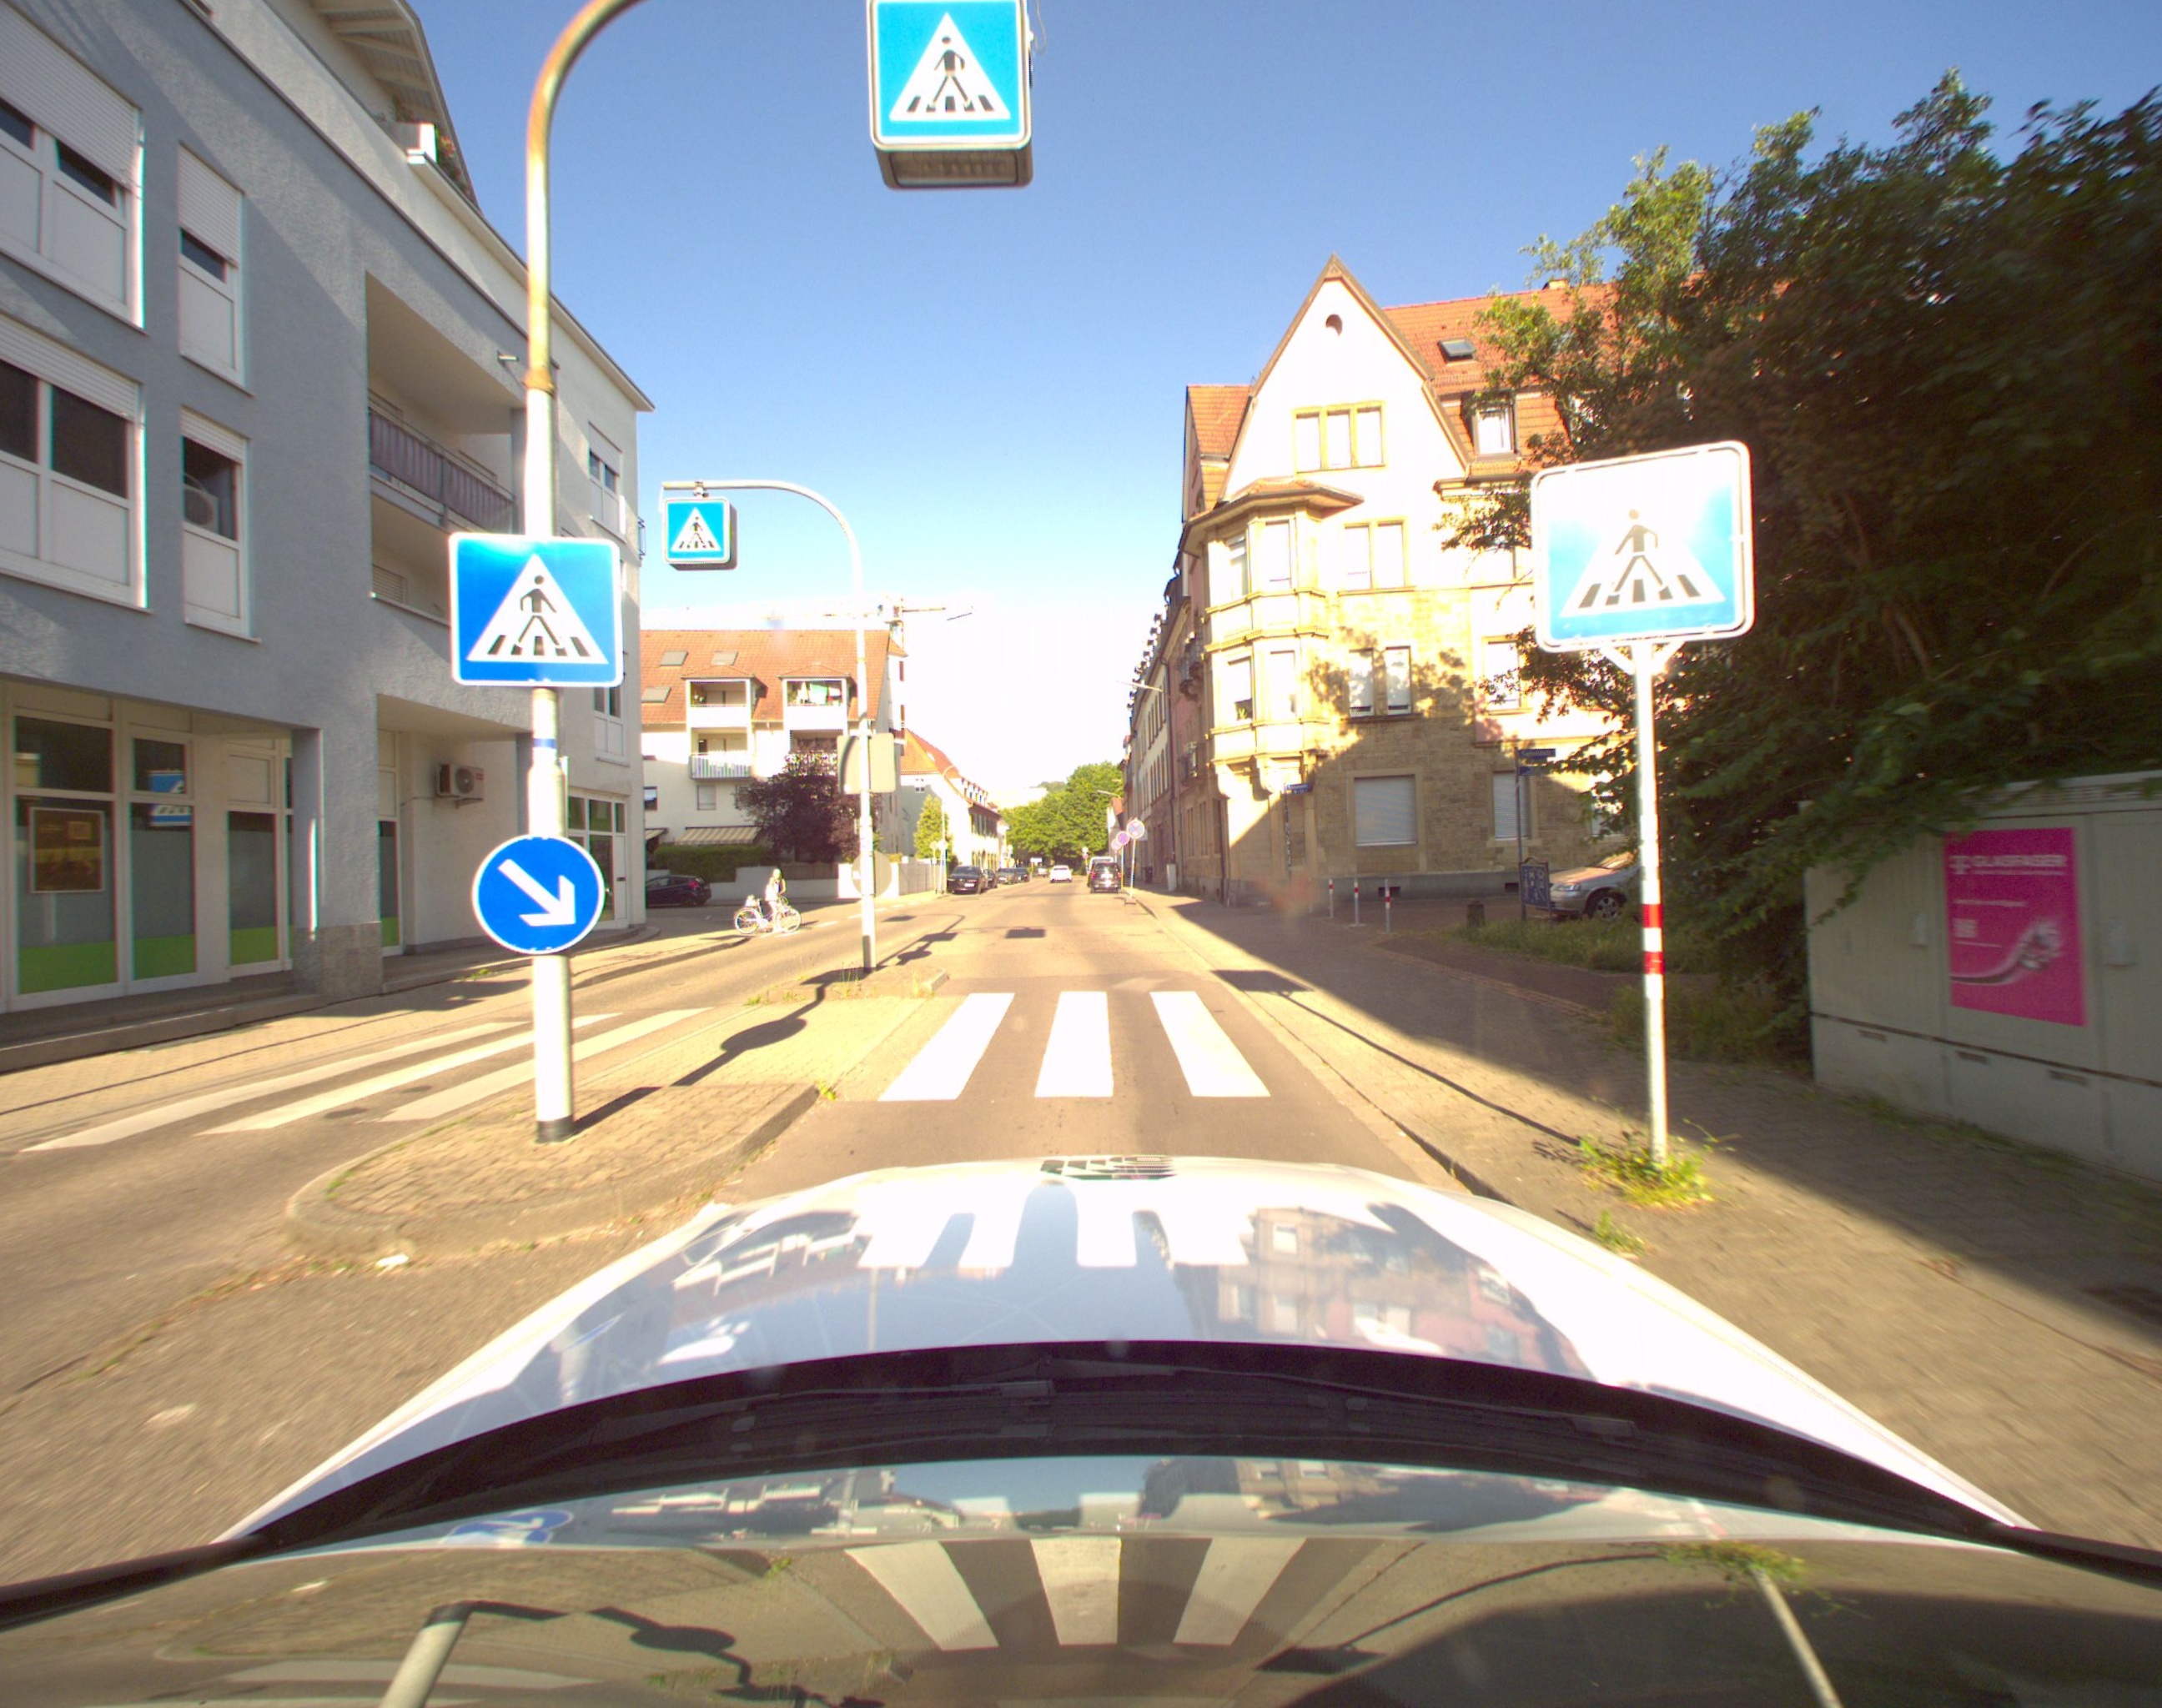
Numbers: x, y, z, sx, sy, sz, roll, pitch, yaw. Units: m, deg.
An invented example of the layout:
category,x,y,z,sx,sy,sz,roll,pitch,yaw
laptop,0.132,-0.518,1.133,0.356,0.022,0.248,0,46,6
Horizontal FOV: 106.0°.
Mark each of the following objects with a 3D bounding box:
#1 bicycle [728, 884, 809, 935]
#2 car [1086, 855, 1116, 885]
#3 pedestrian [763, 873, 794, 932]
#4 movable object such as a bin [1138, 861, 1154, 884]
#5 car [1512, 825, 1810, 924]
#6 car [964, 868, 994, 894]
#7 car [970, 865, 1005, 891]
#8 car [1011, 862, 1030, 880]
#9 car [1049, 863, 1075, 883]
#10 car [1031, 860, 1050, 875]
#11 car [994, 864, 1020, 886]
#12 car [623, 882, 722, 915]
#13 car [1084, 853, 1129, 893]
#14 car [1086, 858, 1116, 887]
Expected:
category,x,y,z,sx,sy,sz,roll,pitch,yaw
bicycle,-7.935,1.404,20.725,1.781,1.184,0.599,-2,-1,0
car,1.373,1.092,57.211,1.836,1.906,3.998,-3,0,-1
pedestrian,-7.840,1.239,21.110,0.555,1.472,0.600,-2,-1,-4
movable object such as a bin,4.134,1.155,51.828,0.869,1.377,0.684,-4,0,-2
car,10.323,0.345,14.789,3.933,1.420,1.906,-4,0,7
car,-6.526,1.724,52.333,1.549,1.458,3.059,-3,0,-1
car,-6.642,1.683,58.157,2.087,1.631,3.819,-3,0,-1
car,-6.073,1.715,81.453,1.626,1.631,3.172,-3,0,-1
car,-1.599,1.559,67.526,1.989,1.466,3.996,-2,-1,-3
car,-5.510,1.848,110.965,1.994,2.014,3.985,-2,-1,-11
car,-6.574,1.840,72.498,1.905,1.760,4.126,-3,0,-1
car,-18.312,1.986,36.609,3.534,1.181,1.614,-3,0,-5
car,1.227,0.911,41.025,2.005,1.853,3.997,-1,0,-2
car,1.312,1.169,52.390,1.811,1.631,4.002,-3,0,2
